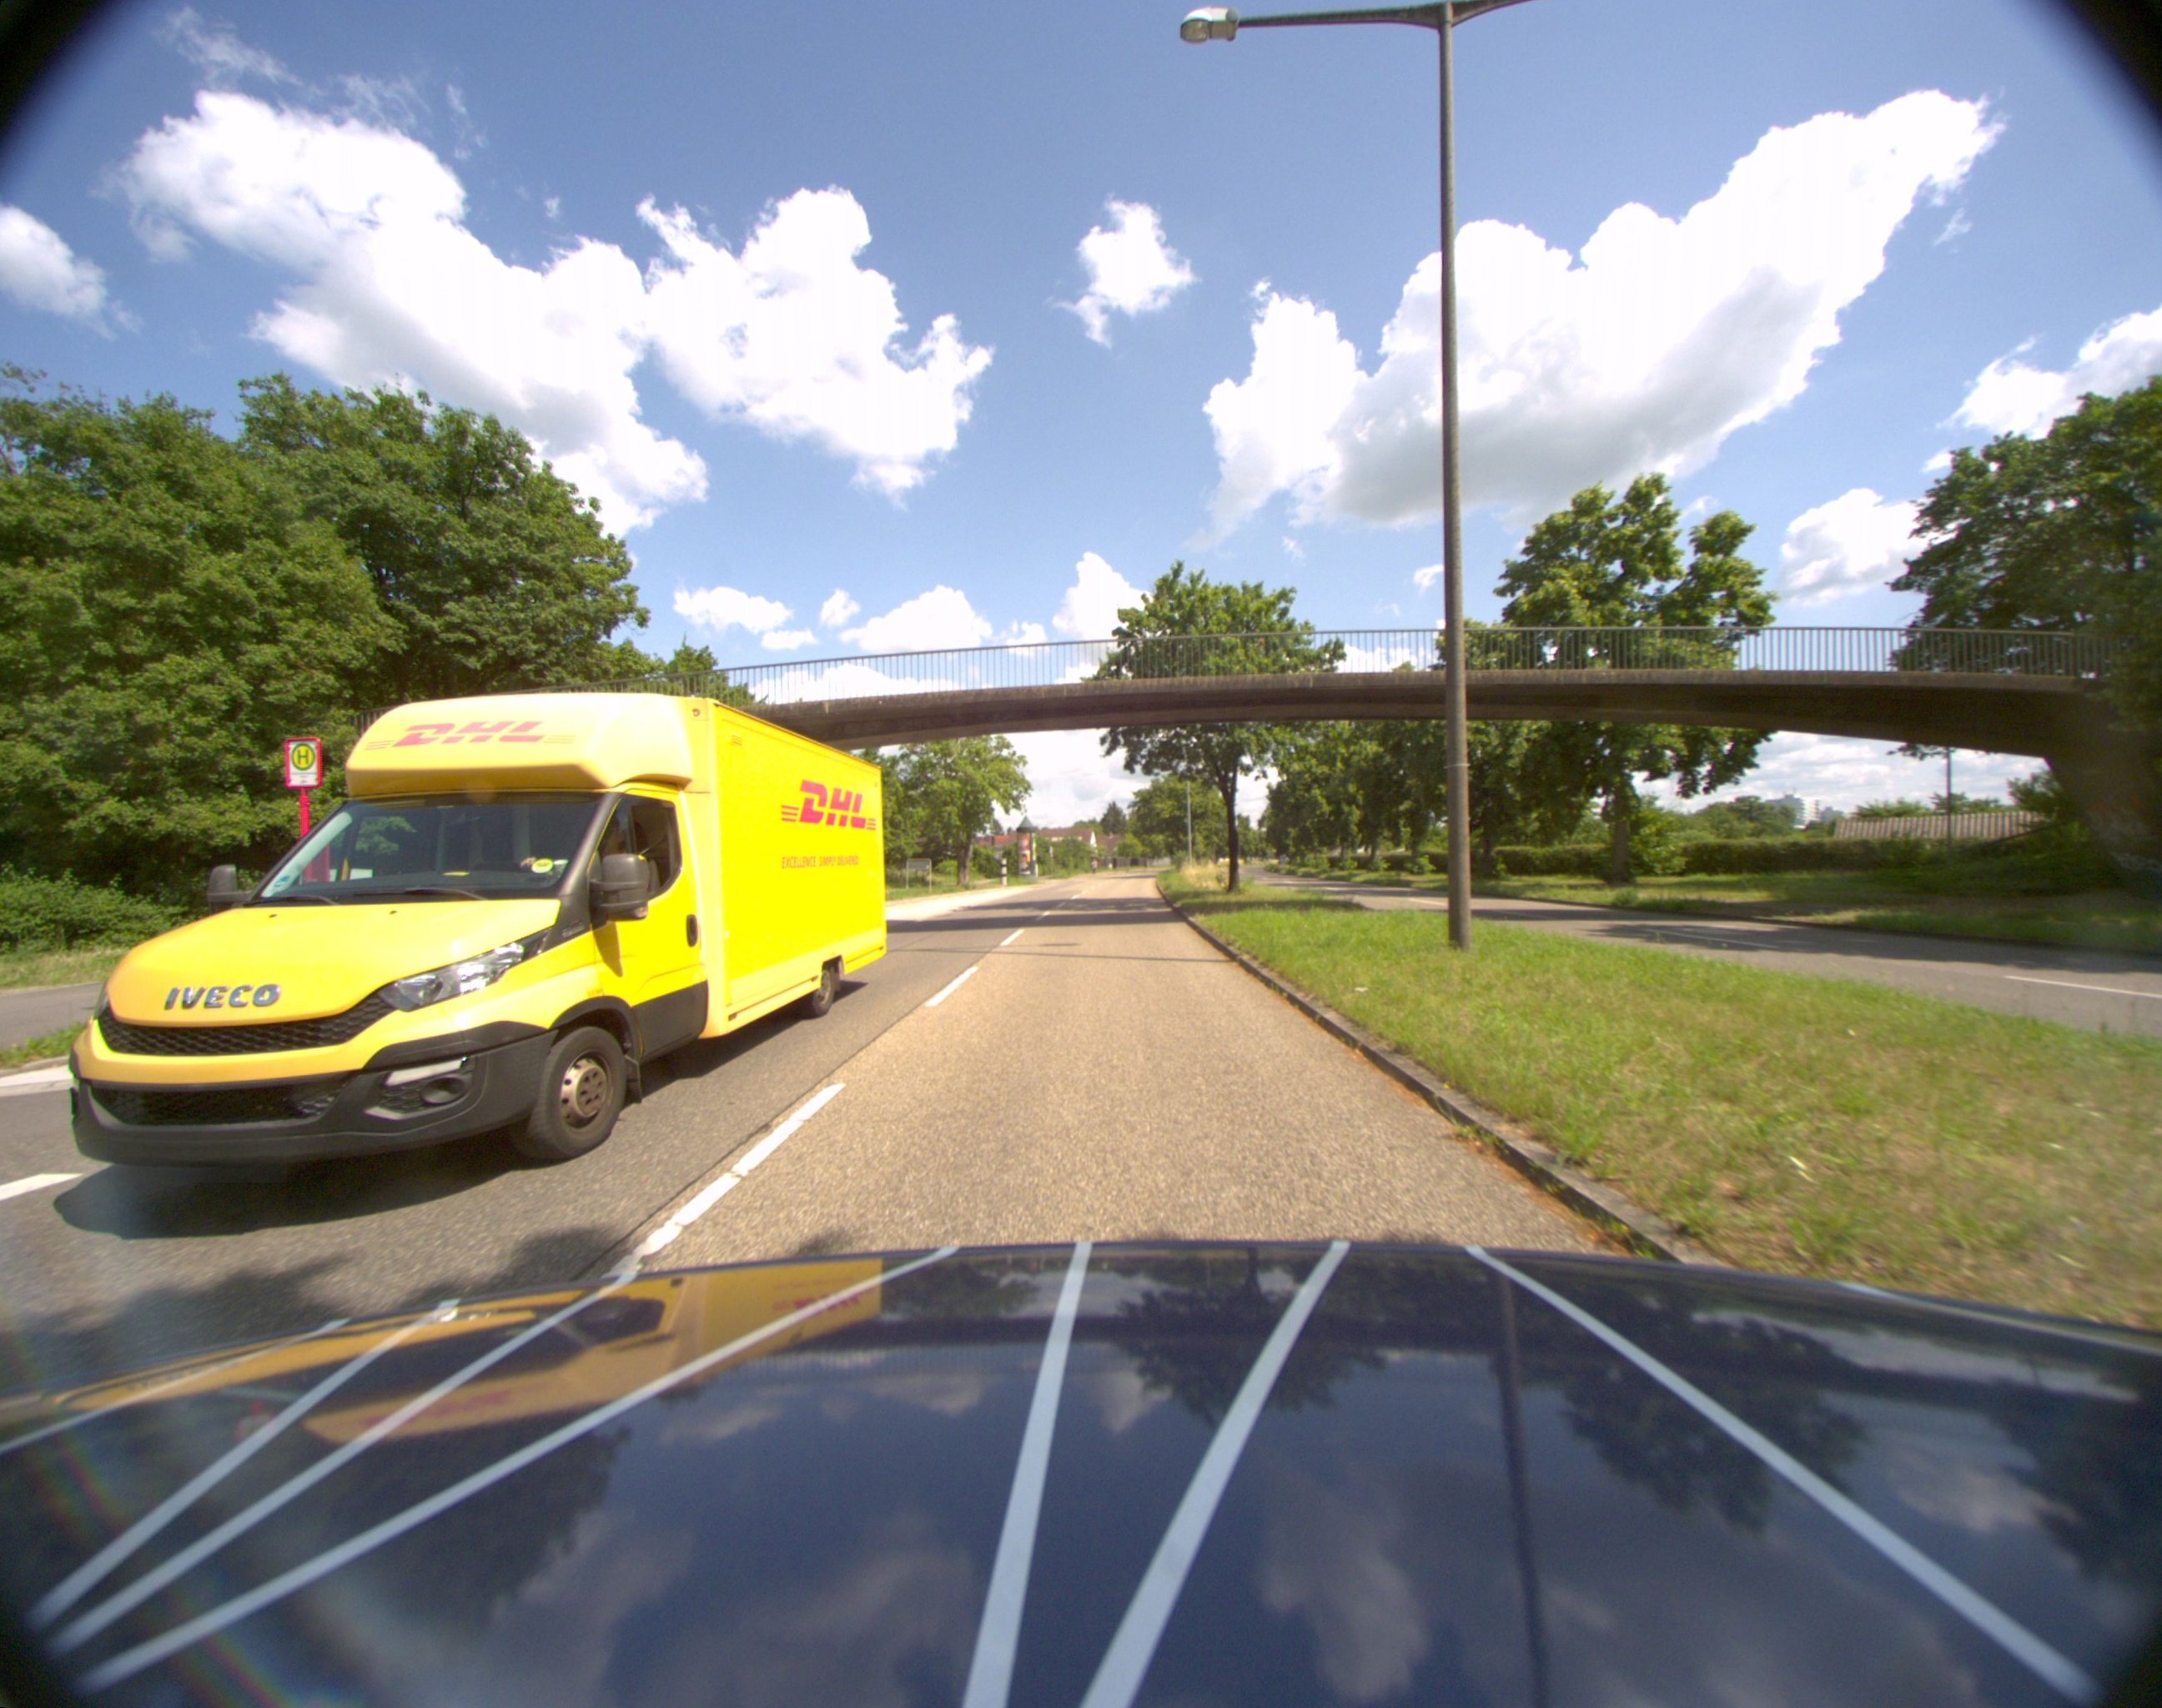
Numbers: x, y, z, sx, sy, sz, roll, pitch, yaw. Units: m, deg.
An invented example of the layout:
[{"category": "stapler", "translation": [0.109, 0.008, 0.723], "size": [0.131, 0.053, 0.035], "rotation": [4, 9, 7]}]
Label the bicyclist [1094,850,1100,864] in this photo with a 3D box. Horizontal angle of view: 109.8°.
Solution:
[{"category": "bicyclist", "translation": [1.901, 0.369, 91.911], "size": [0.620, 1.625, 0.701], "rotation": [-1, 0, 11]}]

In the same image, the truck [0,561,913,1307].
[{"category": "truck", "translation": [-3.740, 0.373, 7.008], "size": [2.270, 2.863, 8.029], "rotation": [-3, 0, 2]}]

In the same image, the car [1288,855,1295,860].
[{"category": "car", "translation": [67.214, 1.006, 242.673], "size": [1.738, 1.577, 4.118], "rotation": [0, 0, 20]}]

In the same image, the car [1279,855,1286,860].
[{"category": "car", "translation": [57.708, 1.018, 217.770], "size": [1.738, 1.577, 4.118], "rotation": [0, 0, 18]}]

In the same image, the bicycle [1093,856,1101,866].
[{"category": "bicycle", "translation": [1.897, 0.867, 91.862], "size": [0.626, 1.145, 1.740], "rotation": [-1, 0, 11]}]
